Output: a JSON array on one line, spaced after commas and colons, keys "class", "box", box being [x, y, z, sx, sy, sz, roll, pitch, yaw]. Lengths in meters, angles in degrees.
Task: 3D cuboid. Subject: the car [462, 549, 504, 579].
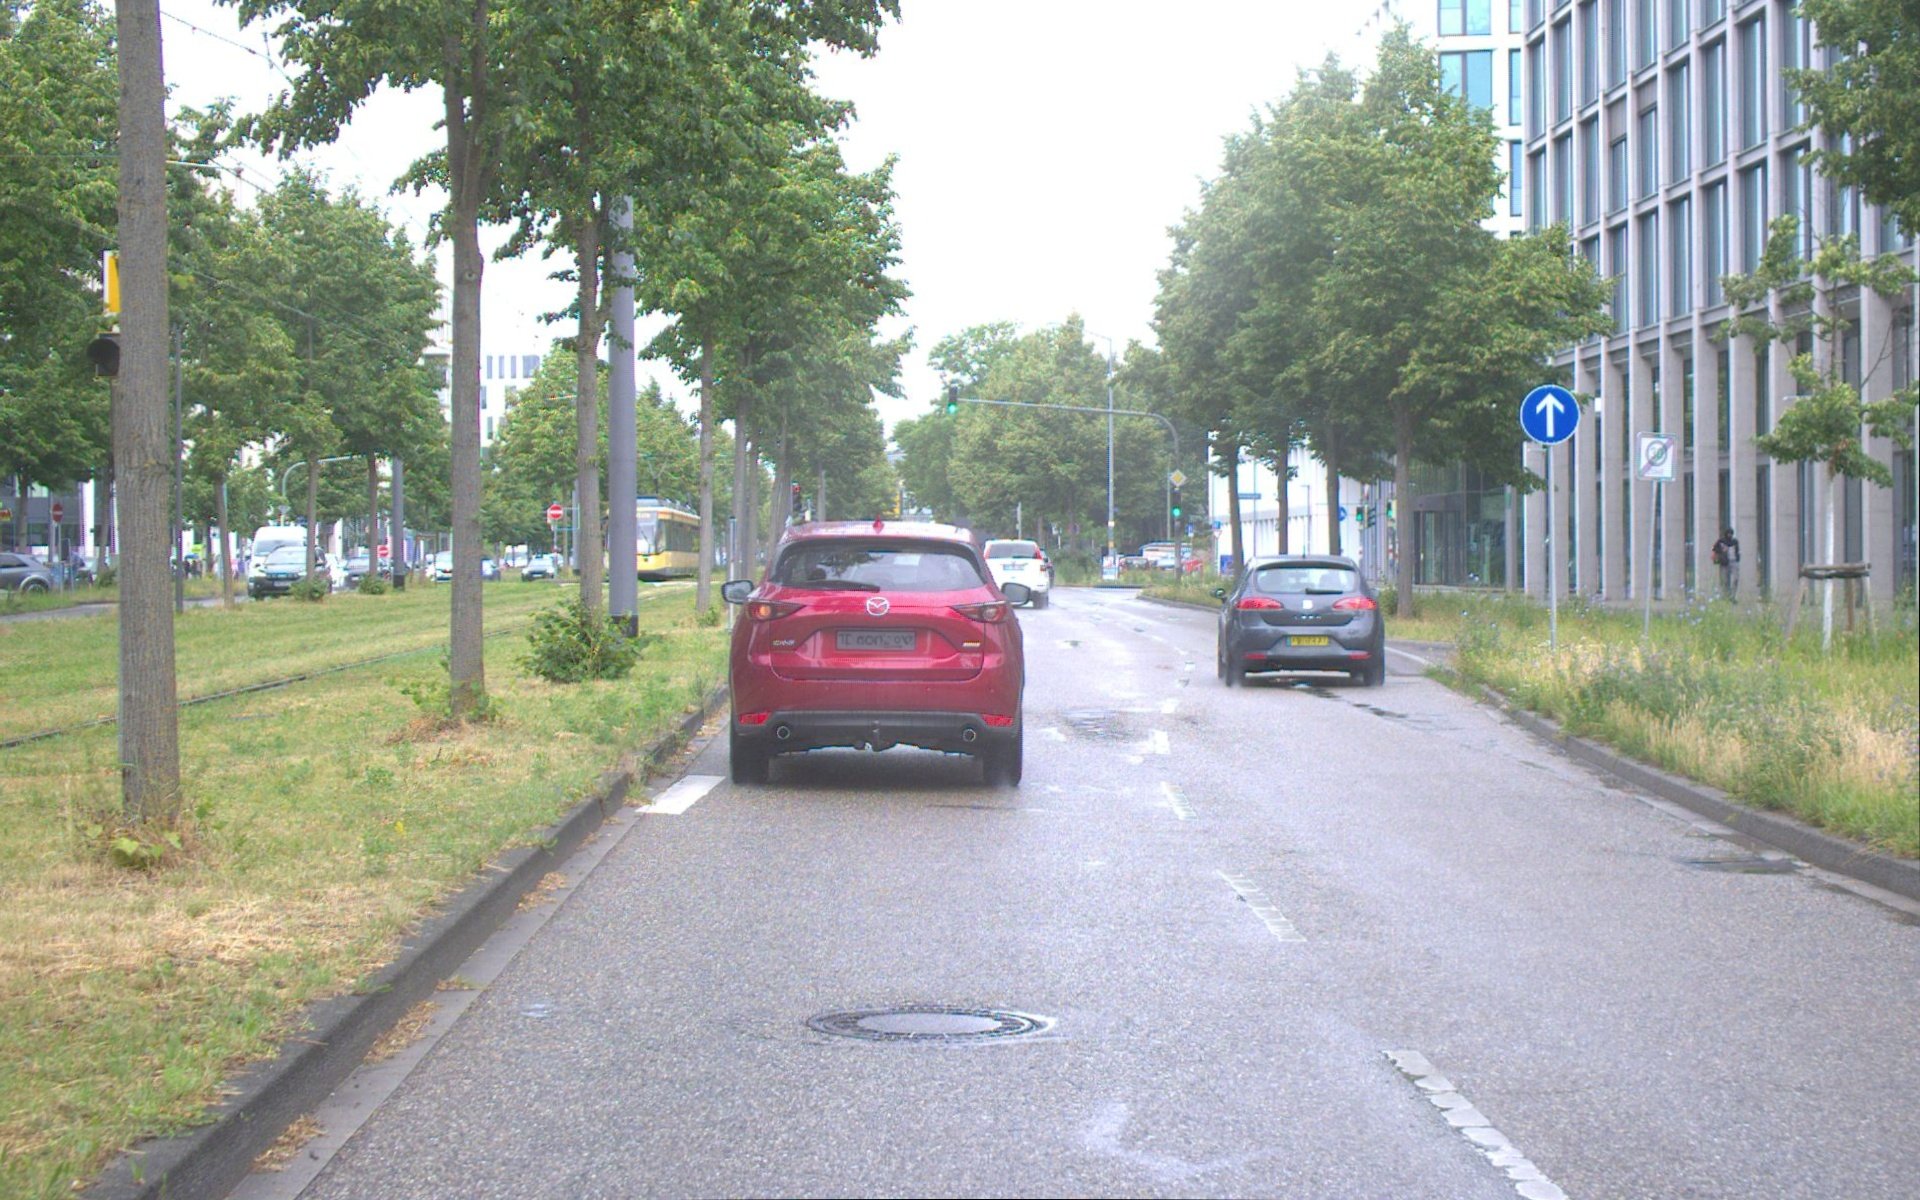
[{"class": "car", "box": [-26.797, -2.035, 193.237, 1.993, 1.612, 4.001, 0, 1, -3]}]

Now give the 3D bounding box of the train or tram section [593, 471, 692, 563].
[{"class": "train or tram section", "box": [-13.068, -3.428, 142.657, 3.128, 3.646, 13.408, 0, 1, -1]}]

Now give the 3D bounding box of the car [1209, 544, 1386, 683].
[{"class": "car", "box": [3.744, 0.116, 38.691, 1.744, 1.460, 3.781, 0, 1, 2]}]

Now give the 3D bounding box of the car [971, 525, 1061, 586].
[{"class": "car", "box": [1.364, -1.128, 85.817, 1.967, 1.432, 4.553, 1, 1, -2]}]

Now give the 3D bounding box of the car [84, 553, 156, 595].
[{"class": "car", "box": [-31.547, -0.988, 129.187, 1.993, 1.479, 4.446, 0, 1, -5]}]

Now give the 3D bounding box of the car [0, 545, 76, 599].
[{"class": "car", "box": [-27.536, -0.797, 96.867, 4.666, 1.516, 2.000, -1, 1, -35]}]

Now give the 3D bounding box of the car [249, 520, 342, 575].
[{"class": "car", "box": [-19.116, -1.526, 99.037, 1.863, 1.519, 4.479, 0, 1, -1]}]

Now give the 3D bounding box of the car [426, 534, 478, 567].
[{"class": "car", "box": [-21.993, -2.170, 148.921, 1.710, 1.399, 4.000, 0, 1, -1]}]

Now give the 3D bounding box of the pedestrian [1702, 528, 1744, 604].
[{"class": "pedestrian", "box": [17.597, -0.786, 79.305, 0.717, 1.709, 0.861, -2, 1, -2]}]

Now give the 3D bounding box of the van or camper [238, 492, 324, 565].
[{"class": "van or camper", "box": [-23.071, -2.434, 117.000, 1.909, 2.402, 5.402, 0, 1, -1]}]

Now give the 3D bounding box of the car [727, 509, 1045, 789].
[{"class": "car", "box": [-0.508, 0.254, 22.619, 1.898, 1.671, 4.001, 0, 1, -2]}]

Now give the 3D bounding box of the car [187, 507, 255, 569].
[{"class": "car", "box": [-31.127, -2.621, 144.904, 2.255, 2.553, 4.656, 0, 1, -5]}]
